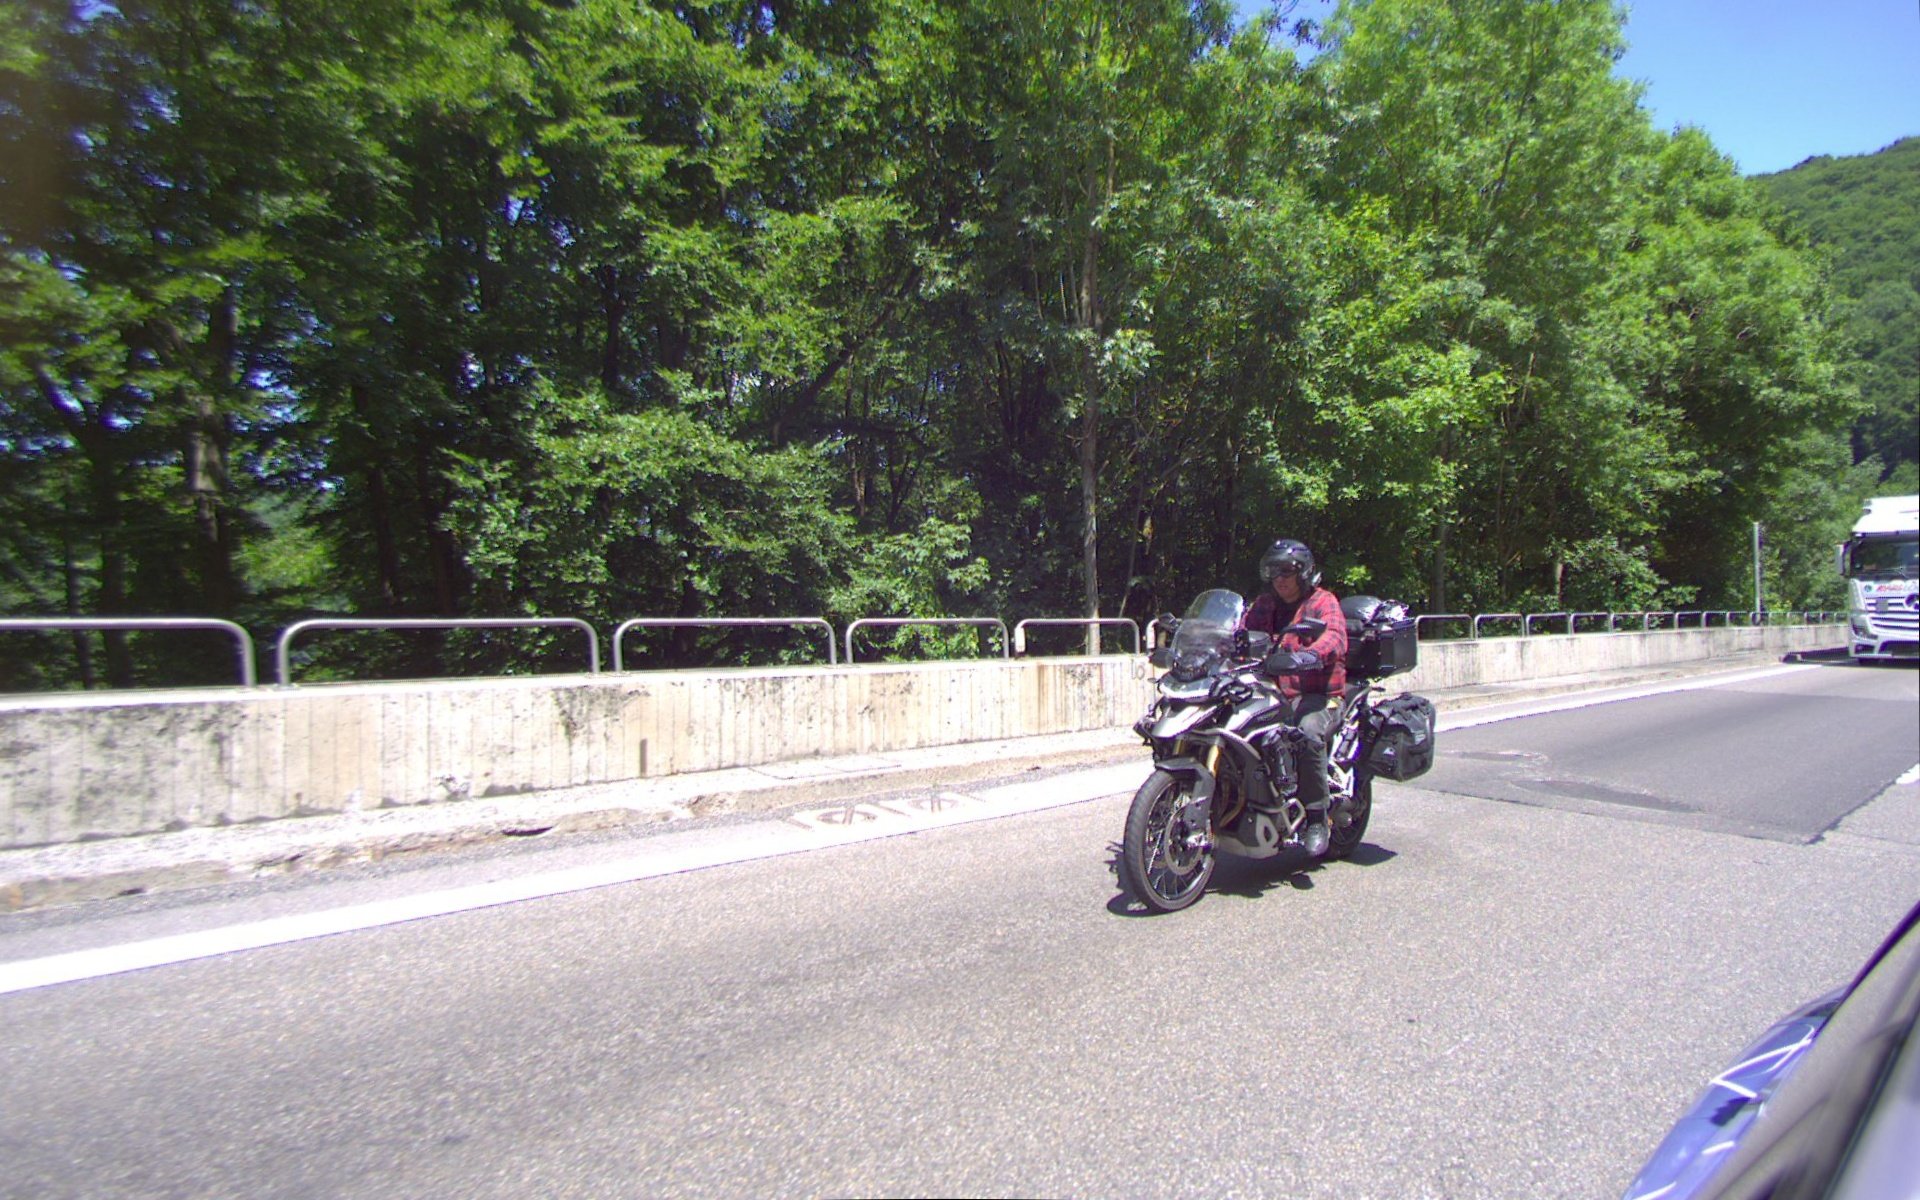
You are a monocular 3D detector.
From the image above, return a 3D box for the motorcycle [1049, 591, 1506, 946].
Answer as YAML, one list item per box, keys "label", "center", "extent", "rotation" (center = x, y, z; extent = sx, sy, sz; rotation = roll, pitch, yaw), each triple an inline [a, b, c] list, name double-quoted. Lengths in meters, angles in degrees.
- label: "motorcycle"
  center: [1.763, 0.680, 5.307]
  extent: [2.632, 1.437, 0.975]
  rotation: [0, 0, -38]

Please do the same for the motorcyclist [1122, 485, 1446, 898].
- label: "motorcyclist"
  center: [1.690, 0.397, 5.293]
  extent: [1.313, 1.823, 1.063]
  rotation: [0, 0, -37]

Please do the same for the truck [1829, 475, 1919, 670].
- label: "truck"
  center: [26.924, -0.661, 26.966]
  extent: [16.409, 4.185, 2.967]
  rotation: [-1, 0, -40]
